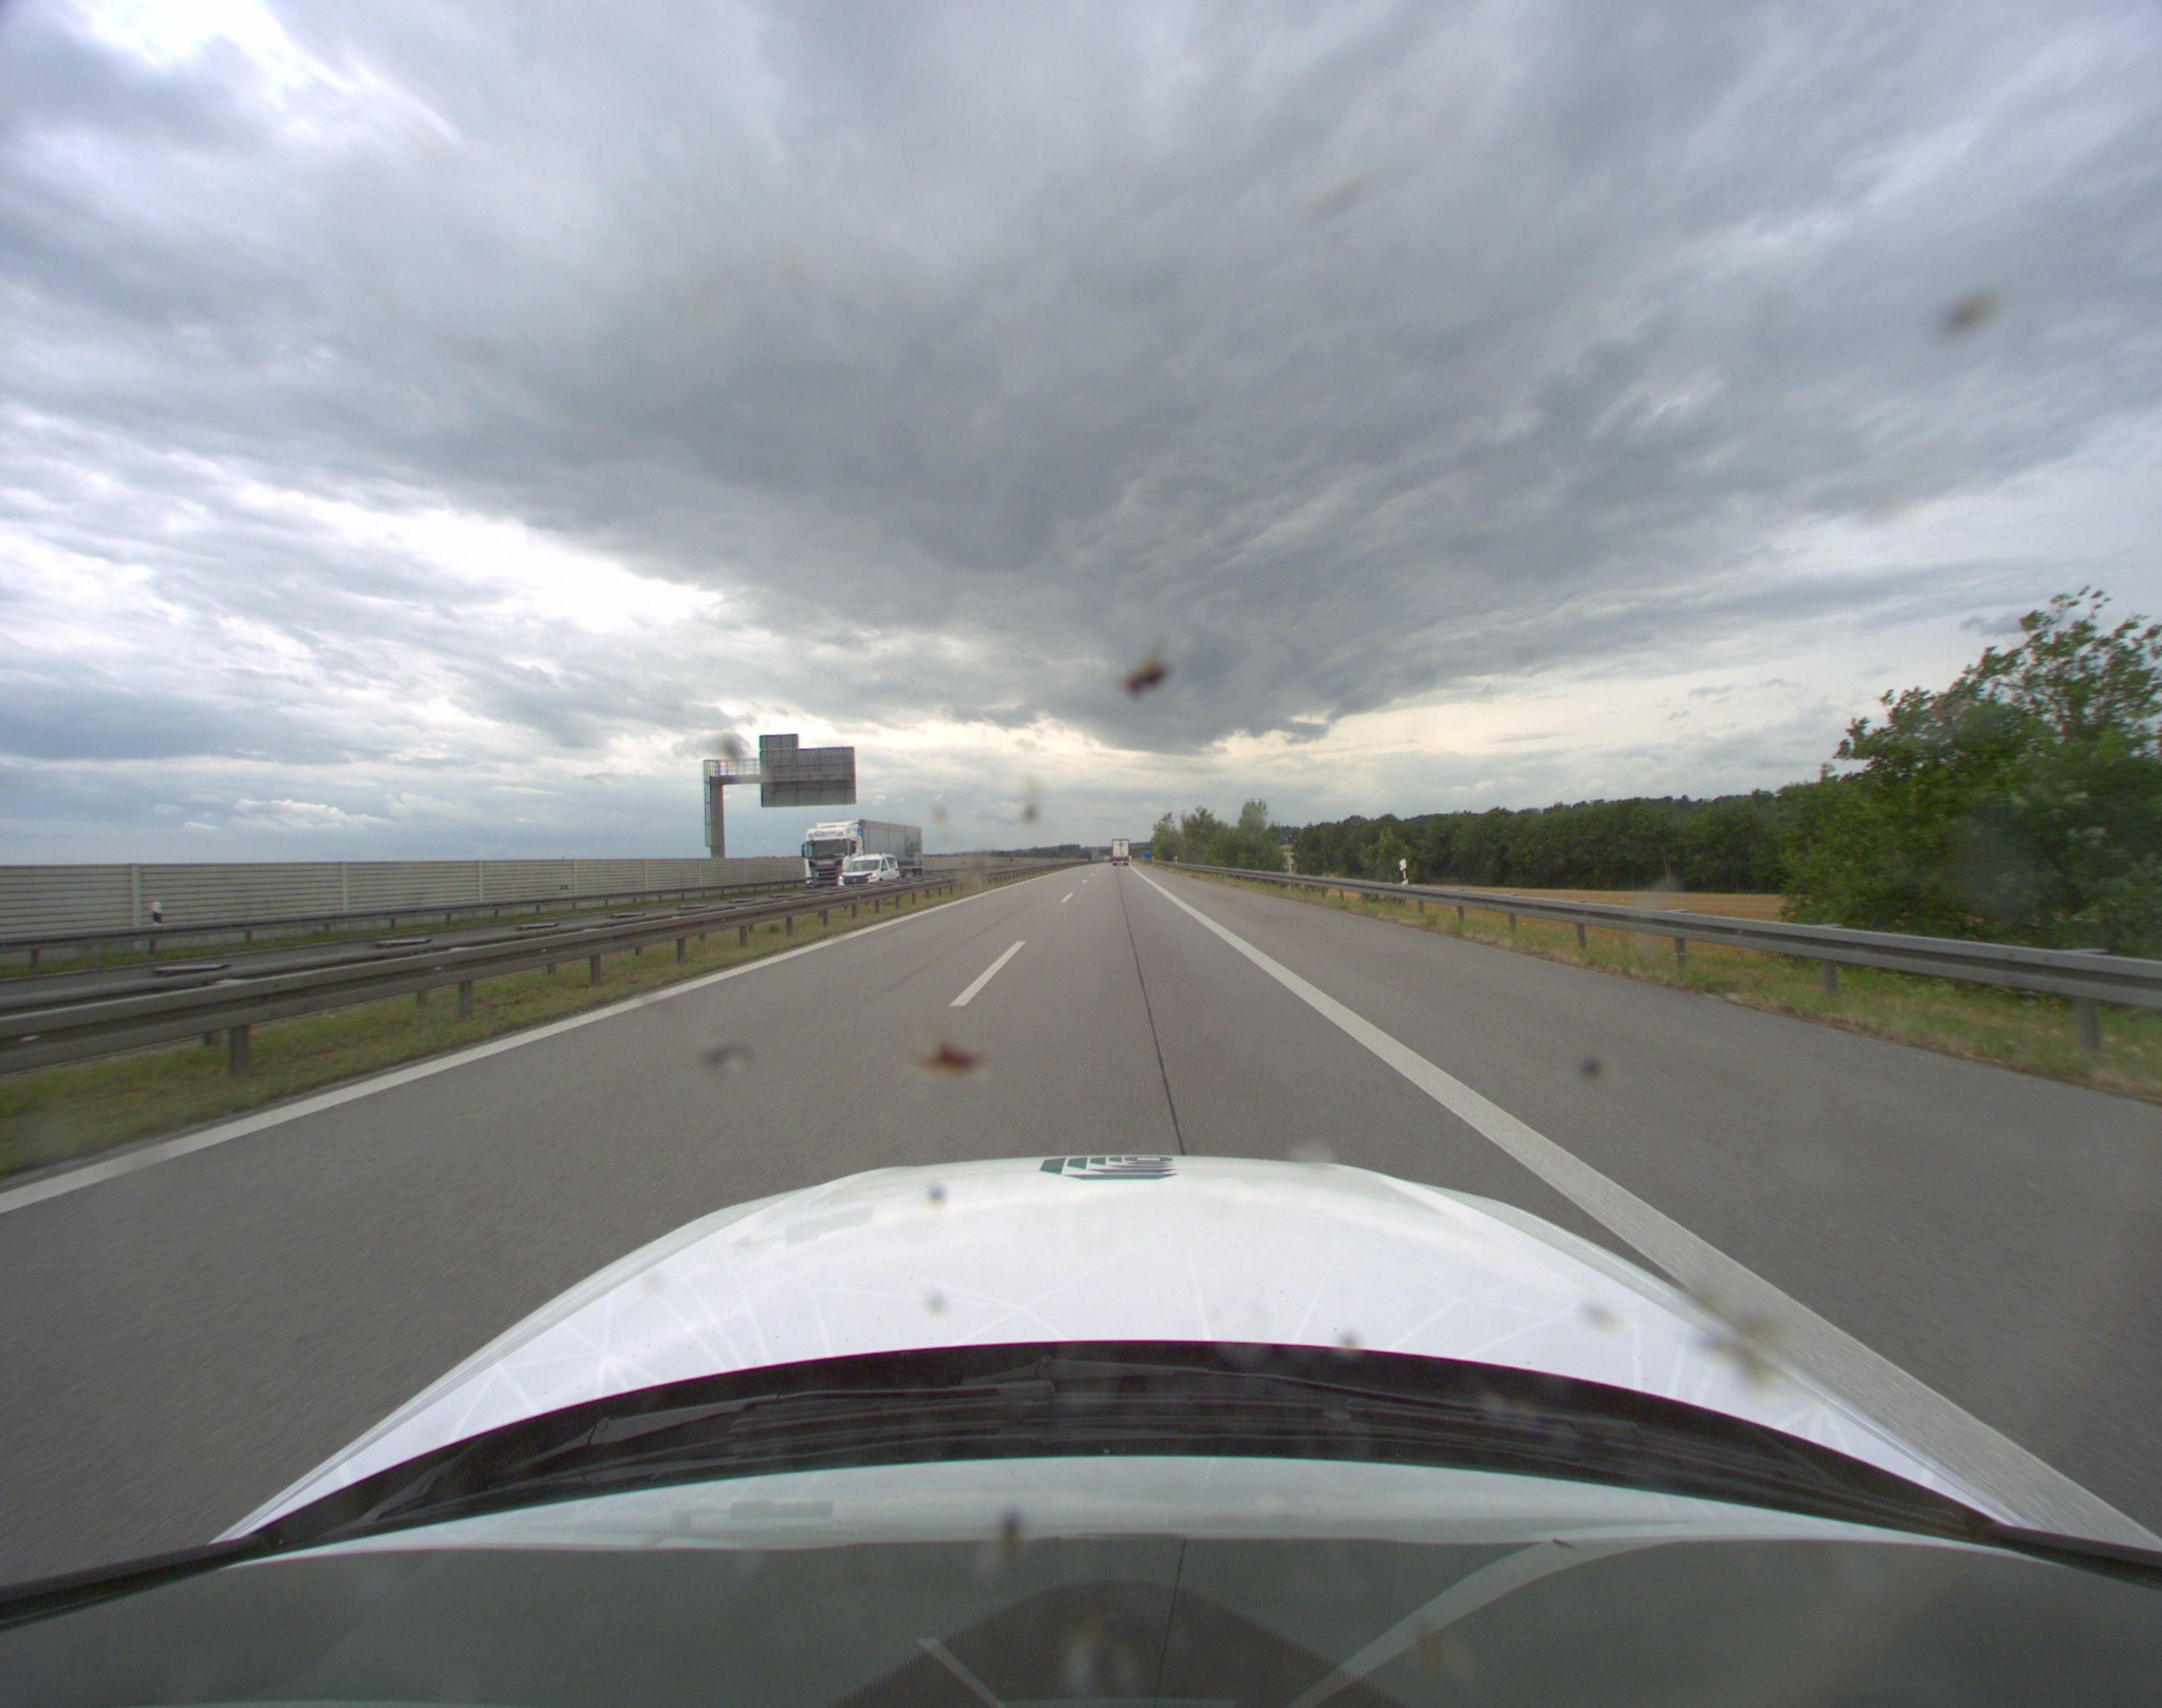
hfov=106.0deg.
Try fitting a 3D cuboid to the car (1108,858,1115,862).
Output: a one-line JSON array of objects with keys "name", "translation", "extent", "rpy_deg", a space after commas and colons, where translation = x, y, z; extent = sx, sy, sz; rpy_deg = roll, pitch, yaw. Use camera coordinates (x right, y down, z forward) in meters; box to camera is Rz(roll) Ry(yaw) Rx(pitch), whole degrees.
[{"name": "car", "translation": [9.599, 1.879, 258.726], "extent": [1.987, 1.420, 3.999], "rpy_deg": [0, 1, -1]}]

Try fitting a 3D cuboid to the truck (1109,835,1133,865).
[{"name": "truck", "translation": [6.422, -0.583, 131.787], "extent": [3.658, 4.412, 16.349], "rpy_deg": [-2, -1, 2]}]

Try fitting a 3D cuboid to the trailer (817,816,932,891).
[{"name": "trailer", "translation": [-12.888, -0.020, 52.704], "extent": [3.167, 4.076, 14.030], "rpy_deg": [-3, 0, 2]}]

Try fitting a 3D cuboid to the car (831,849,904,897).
[{"name": "car", "translation": [-9.159, 0.794, 35.250], "extent": [1.807, 1.847, 4.183], "rpy_deg": [3, 0, 2]}]

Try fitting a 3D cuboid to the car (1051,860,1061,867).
[{"name": "car", "translation": [-5.646, 2.228, 186.044], "extent": [1.810, 1.403, 4.880], "rpy_deg": [-3, 0, 3]}]

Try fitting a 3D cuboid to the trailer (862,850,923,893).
[{"name": "trailer", "translation": [-9.015, 0.817, 39.284], "extent": [1.807, 1.847, 3.865], "rpy_deg": [3, 0, 2]}]

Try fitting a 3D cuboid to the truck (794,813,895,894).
[{"name": "truck", "translation": [-13.153, -0.012, 46.051], "extent": [3.097, 4.014, 7.327], "rpy_deg": [-3, 0, 2]}]
